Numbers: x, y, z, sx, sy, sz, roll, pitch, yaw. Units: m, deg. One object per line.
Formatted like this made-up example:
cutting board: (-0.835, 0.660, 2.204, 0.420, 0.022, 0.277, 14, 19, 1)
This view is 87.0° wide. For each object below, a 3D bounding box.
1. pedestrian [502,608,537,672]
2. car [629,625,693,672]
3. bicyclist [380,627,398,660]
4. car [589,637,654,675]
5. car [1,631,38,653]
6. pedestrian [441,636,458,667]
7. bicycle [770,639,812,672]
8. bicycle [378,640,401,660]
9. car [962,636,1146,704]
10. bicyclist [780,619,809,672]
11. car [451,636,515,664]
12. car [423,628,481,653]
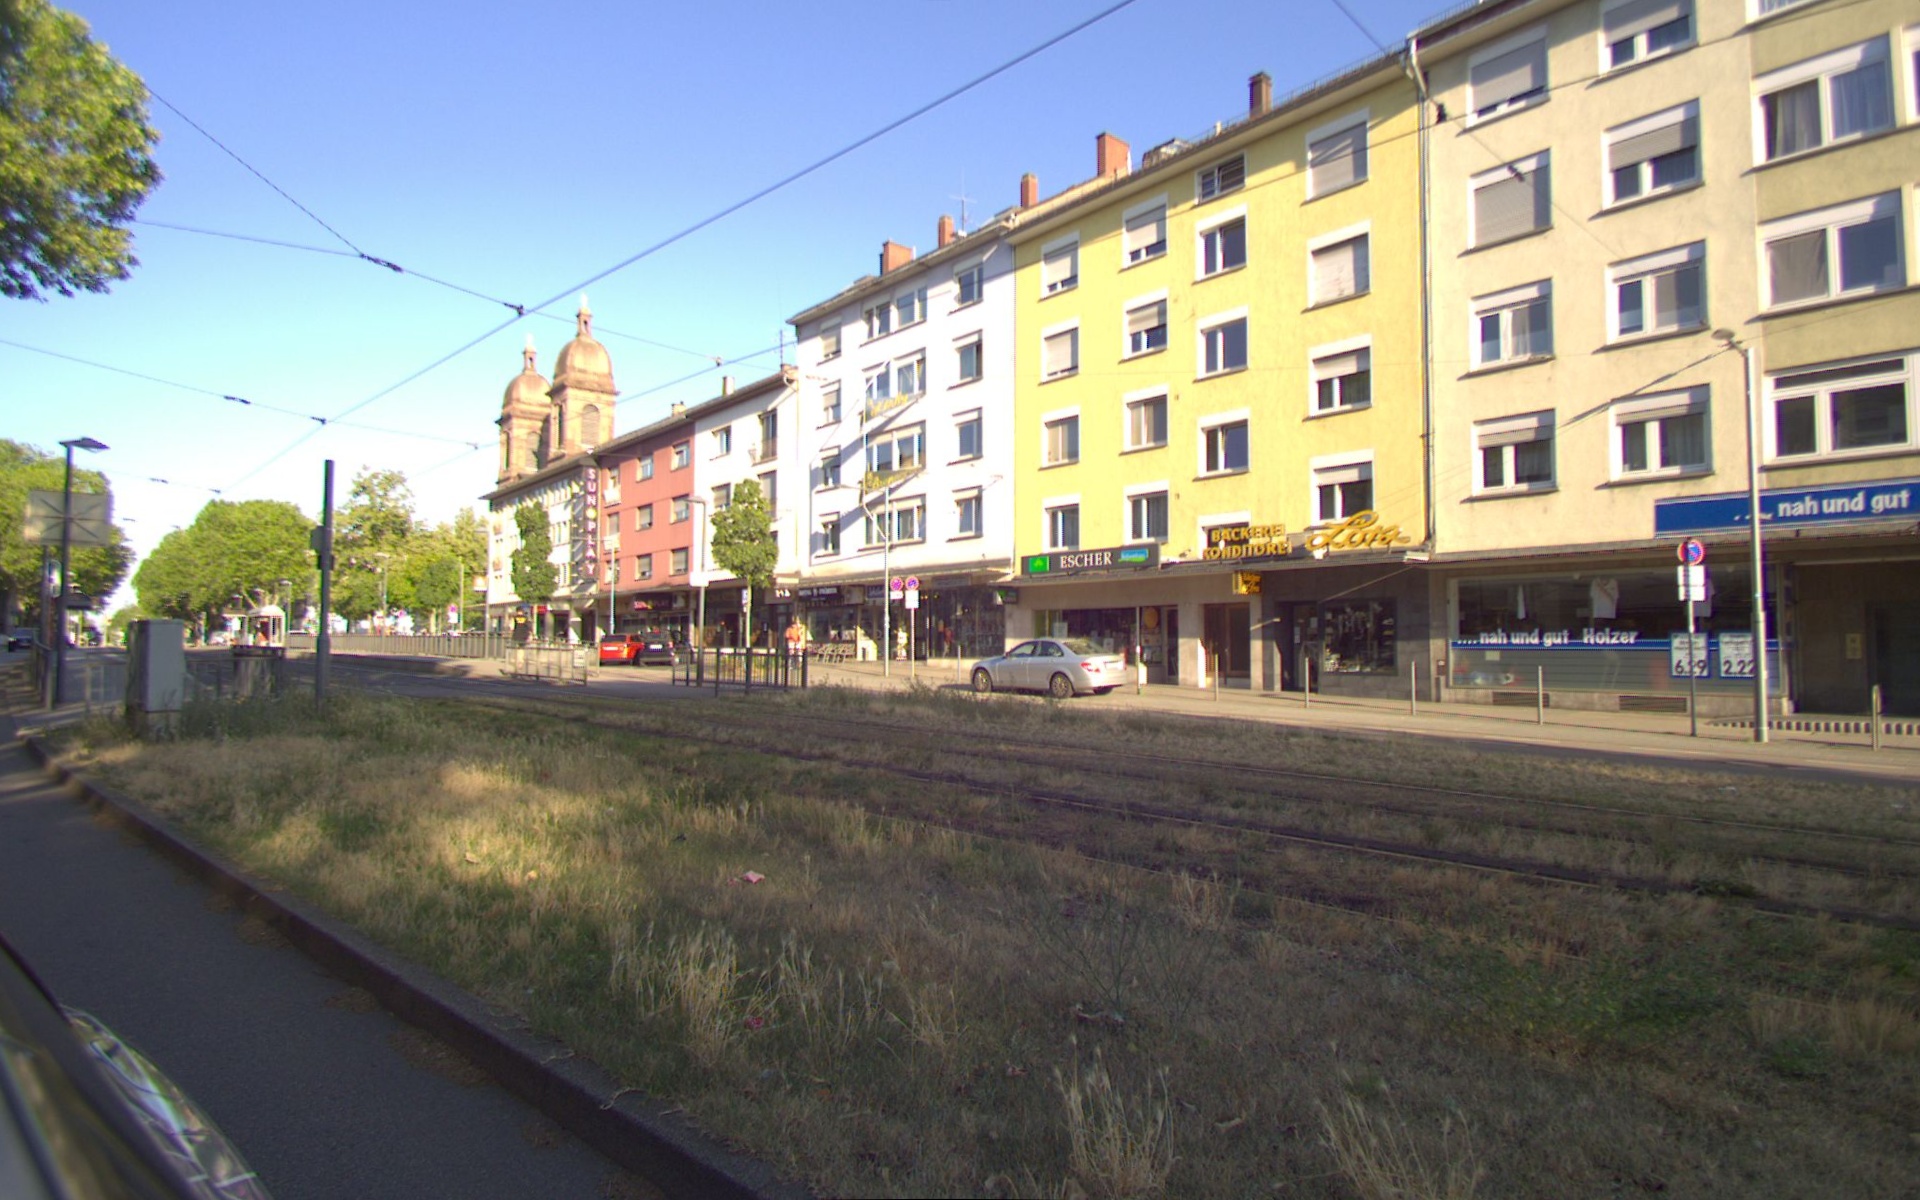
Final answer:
pedestrian: (-12.955, 1.179, 29.741, 0.590, 1.863, 0.733, -2, -4, 43)
car: (-12.847, 2.037, 43.687, 1.836, 1.813, 3.773, -1, 0, -3)
bicyclist: (-36.050, 2.749, 63.940, 0.754, 2.029, 0.912, 3, -4, -42)
car: (-15.178, 2.486, 45.540, 1.836, 1.502, 3.773, -1, 0, -3)
car: (-64.853, 2.864, 69.755, 4.002, 1.409, 1.694, -2, -1, 45)
pedestrian: (-30.189, 3.041, 59.864, 0.756, 1.801, 0.726, 0, -1, -38)
bicycle: (-6.262, 2.050, 37.475, 0.696, 1.168, 2.204, 2, -3, -33)
bicycle: (-36.009, 3.151, 63.867, 0.709, 1.239, 2.281, 3, -4, -42)
car: (2.310, 1.697, 25.707, 1.970, 1.489, 4.414, 0, -1, -44)
bicyclist: (-6.082, 1.676, 37.212, 0.683, 1.901, 1.060, 2, -3, -32)
car: (-28.799, 3.003, 61.202, 1.845, 1.541, 3.996, -1, -1, 3)
car: (-33.454, 2.652, 66.751, 1.720, 1.497, 3.998, -1, -1, 1)
